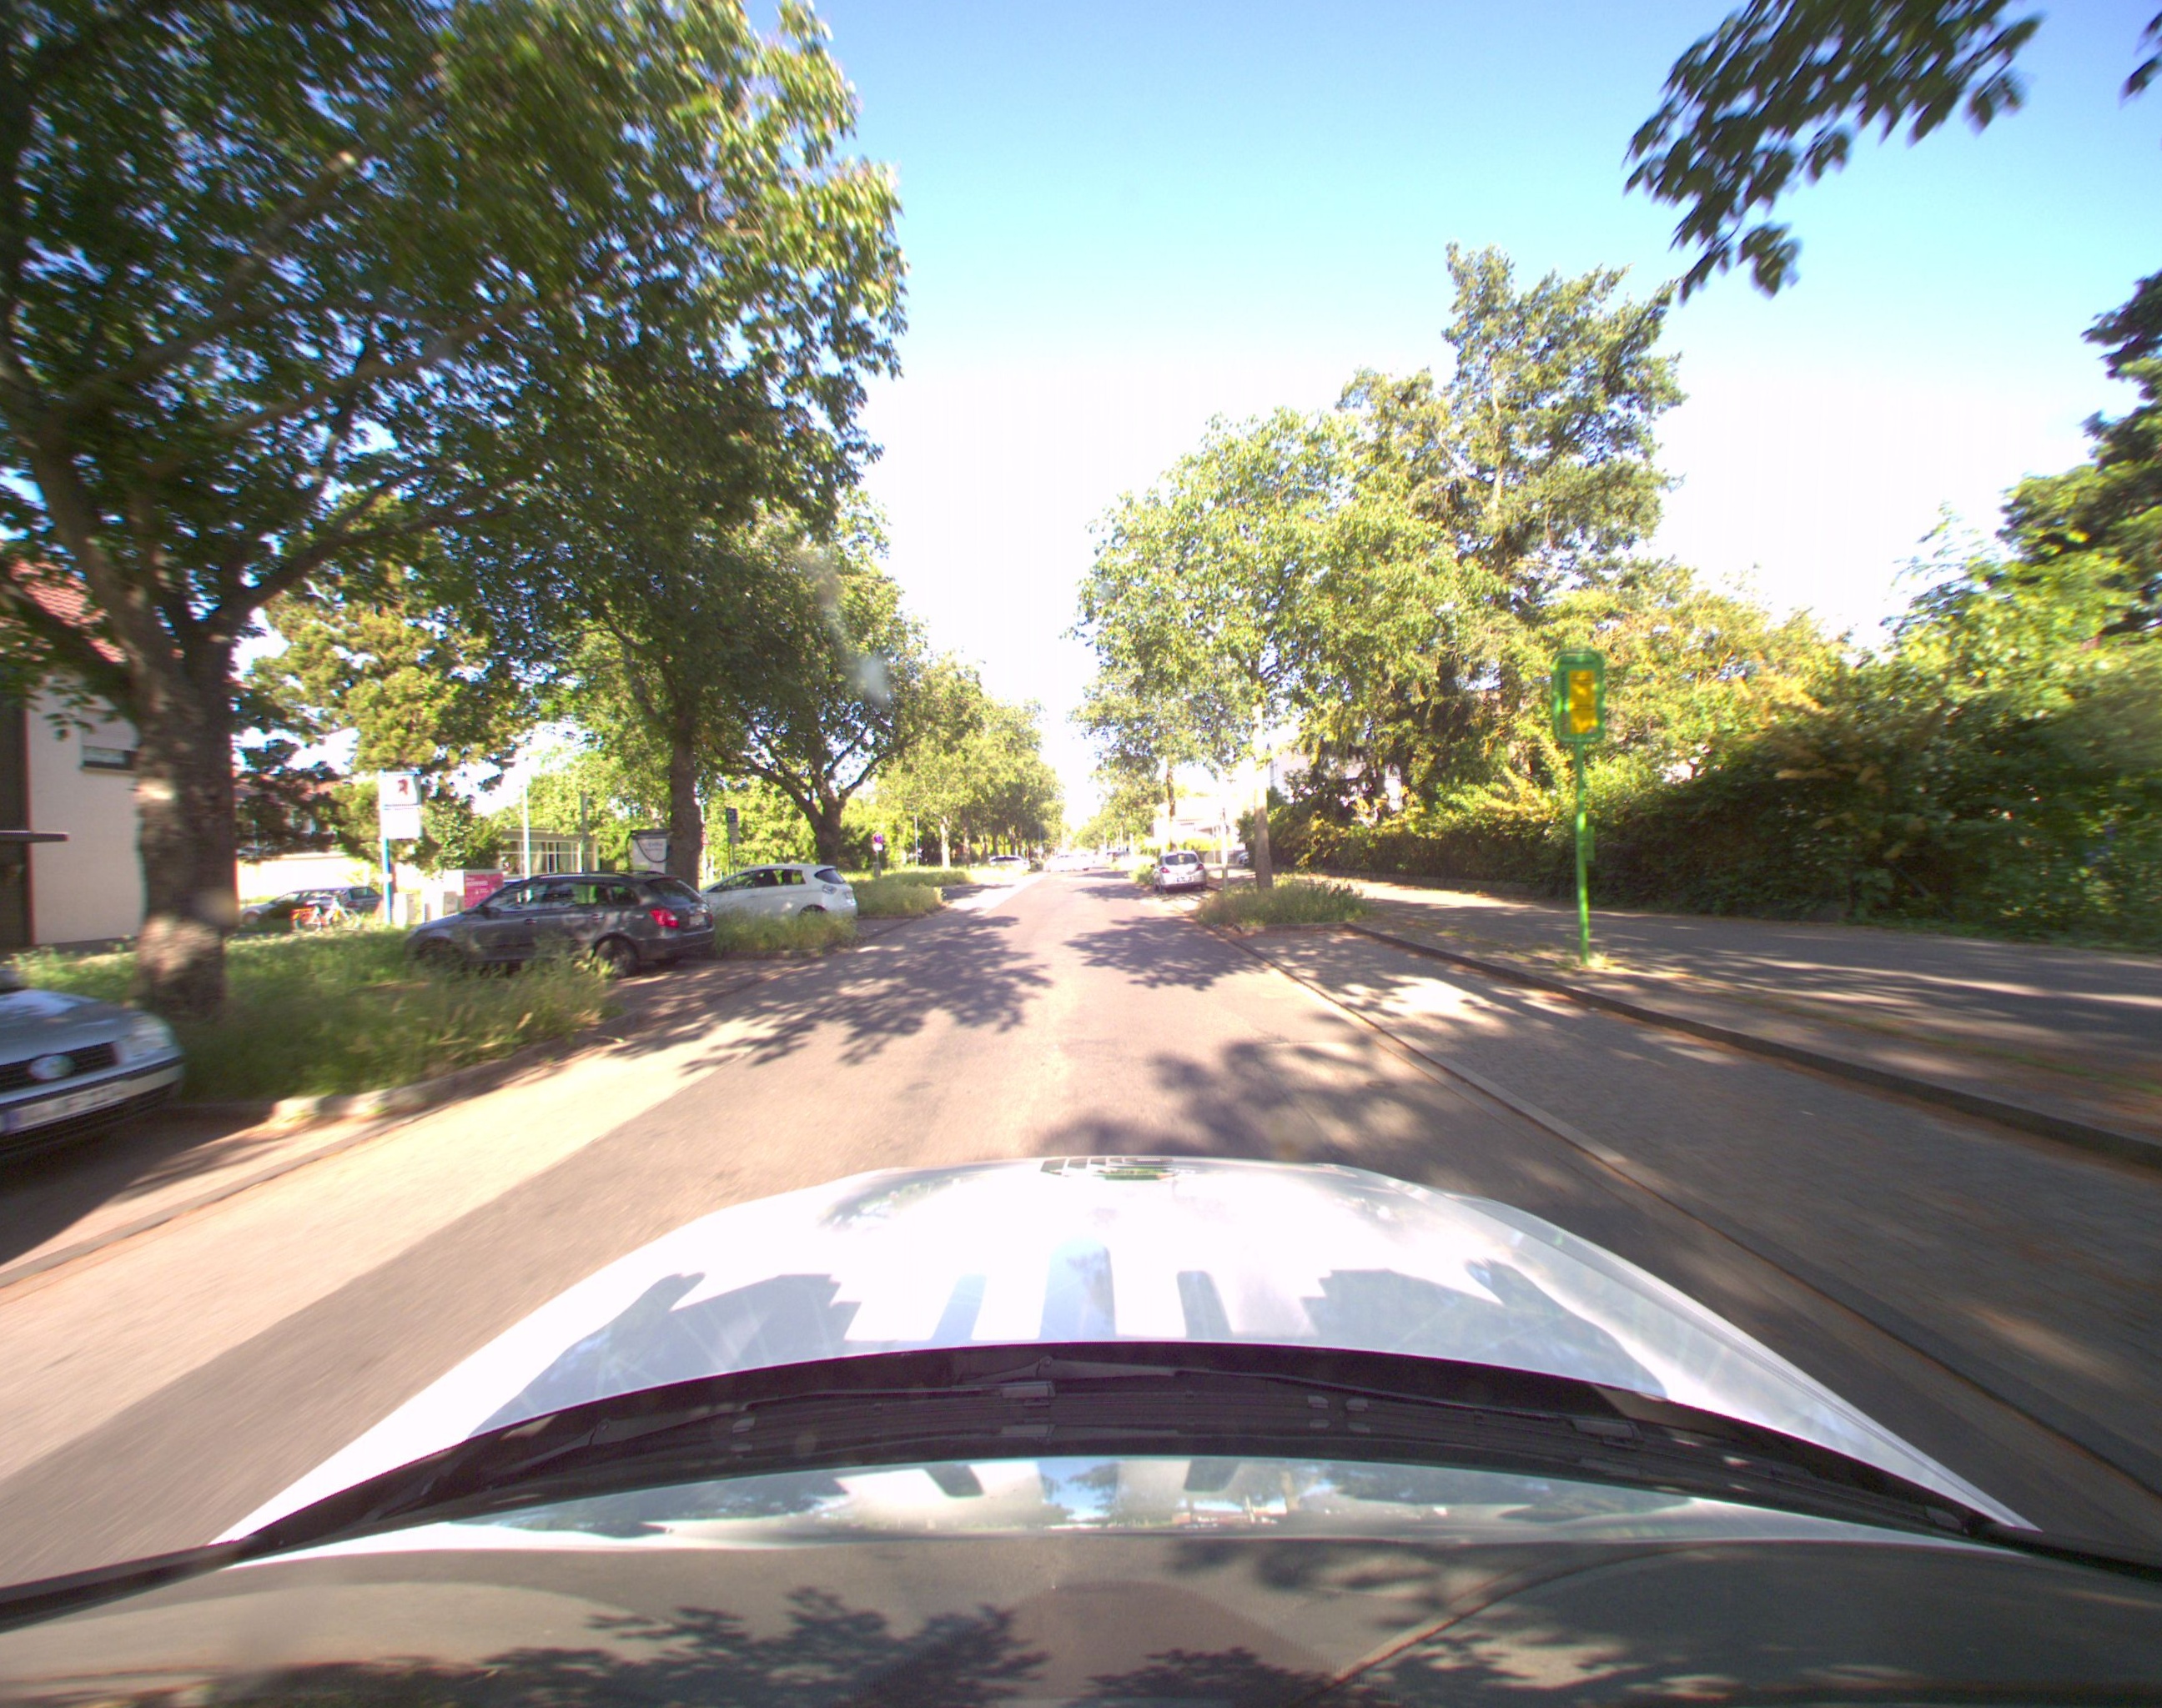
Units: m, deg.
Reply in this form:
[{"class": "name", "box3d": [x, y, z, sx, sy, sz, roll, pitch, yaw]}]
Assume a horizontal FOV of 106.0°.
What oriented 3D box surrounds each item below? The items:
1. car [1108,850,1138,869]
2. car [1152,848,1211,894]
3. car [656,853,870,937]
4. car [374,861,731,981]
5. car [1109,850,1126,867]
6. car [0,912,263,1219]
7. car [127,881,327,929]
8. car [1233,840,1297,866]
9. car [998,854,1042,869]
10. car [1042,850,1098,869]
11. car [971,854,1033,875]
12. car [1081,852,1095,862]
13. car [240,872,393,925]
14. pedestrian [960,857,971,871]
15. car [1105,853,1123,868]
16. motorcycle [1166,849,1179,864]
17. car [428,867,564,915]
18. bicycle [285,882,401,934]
[{"class": "car", "box3d": [3.635, 0.471, 70.791, 1.991, 1.622, 4.372, 1, 0, -6]}, {"class": "car", "box3d": [3.757, 0.628, 30.508, 1.983, 1.510, 4.008, -3, -1, 7]}, {"class": "car", "box3d": [-6.996, 0.862, 18.279, 3.975, 1.661, 1.966, -2, 0, -1]}, {"class": "car", "box3d": [-7.717, 0.944, 12.251, 3.975, 1.589, 1.999, 1, -1, -1]}, {"class": "car", "box3d": [3.656, 0.448, 82.494, 1.605, 1.622, 4.381, 1, 0, 1]}, {"class": "car", "box3d": [-7.505, 1.102, 4.415, 3.976, 1.458, 1.999, 1, -1, -2]}, {"class": "car", "box3d": [-27.050, 1.607, 25.939, 3.983, 1.367, 1.995, 1, 0, -7]}, {"class": "car", "box3d": [12.900, -0.045, 57.084, 3.982, 1.640, 1.772, -2, 0, -6]}, {"class": "car", "box3d": [-6.279, 0.800, 84.320, 4.355, 1.531, 1.807, 0, -1, -1]}, {"class": "car", "box3d": [-0.910, 0.467, 65.789, 4.170, 1.455, 2.013, -2, 0, 40]}, {"class": "car", "box3d": [-6.211, 0.824, 64.550, 4.654, 1.503, 2.001, -2, 0, 1]}, {"class": "car", "box3d": [1.065, 0.501, 125.255, 1.987, 1.508, 3.657, 1, 0, -1]}, {"class": "car", "box3d": [-29.705, 1.692, 31.730, 3.974, 1.820, 2.000, -2, 0, -1]}, {"class": "pedestrian", "box3d": [-15.308, 1.339, 108.189, 1.228, 1.827, 1.542, 0, -1, -17]}, {"class": "car", "box3d": [4.390, 0.894, 109.574, 1.989, 1.728, 3.996, -4, -1, -2]}, {"class": "motorcycle", "box3d": [8.249, 0.214, 73.276, 0.815, 1.227, 2.351, -3, 0, 0]}, {"class": "car", "box3d": [-22.995, 1.426, 32.105, 3.974, 1.714, 1.822, -2, 0, -1]}, {"class": "bicycle", "box3d": [-20.827, 1.465, 23.144, 0.705, 1.176, 4.034, -2, 1, -16]}]
